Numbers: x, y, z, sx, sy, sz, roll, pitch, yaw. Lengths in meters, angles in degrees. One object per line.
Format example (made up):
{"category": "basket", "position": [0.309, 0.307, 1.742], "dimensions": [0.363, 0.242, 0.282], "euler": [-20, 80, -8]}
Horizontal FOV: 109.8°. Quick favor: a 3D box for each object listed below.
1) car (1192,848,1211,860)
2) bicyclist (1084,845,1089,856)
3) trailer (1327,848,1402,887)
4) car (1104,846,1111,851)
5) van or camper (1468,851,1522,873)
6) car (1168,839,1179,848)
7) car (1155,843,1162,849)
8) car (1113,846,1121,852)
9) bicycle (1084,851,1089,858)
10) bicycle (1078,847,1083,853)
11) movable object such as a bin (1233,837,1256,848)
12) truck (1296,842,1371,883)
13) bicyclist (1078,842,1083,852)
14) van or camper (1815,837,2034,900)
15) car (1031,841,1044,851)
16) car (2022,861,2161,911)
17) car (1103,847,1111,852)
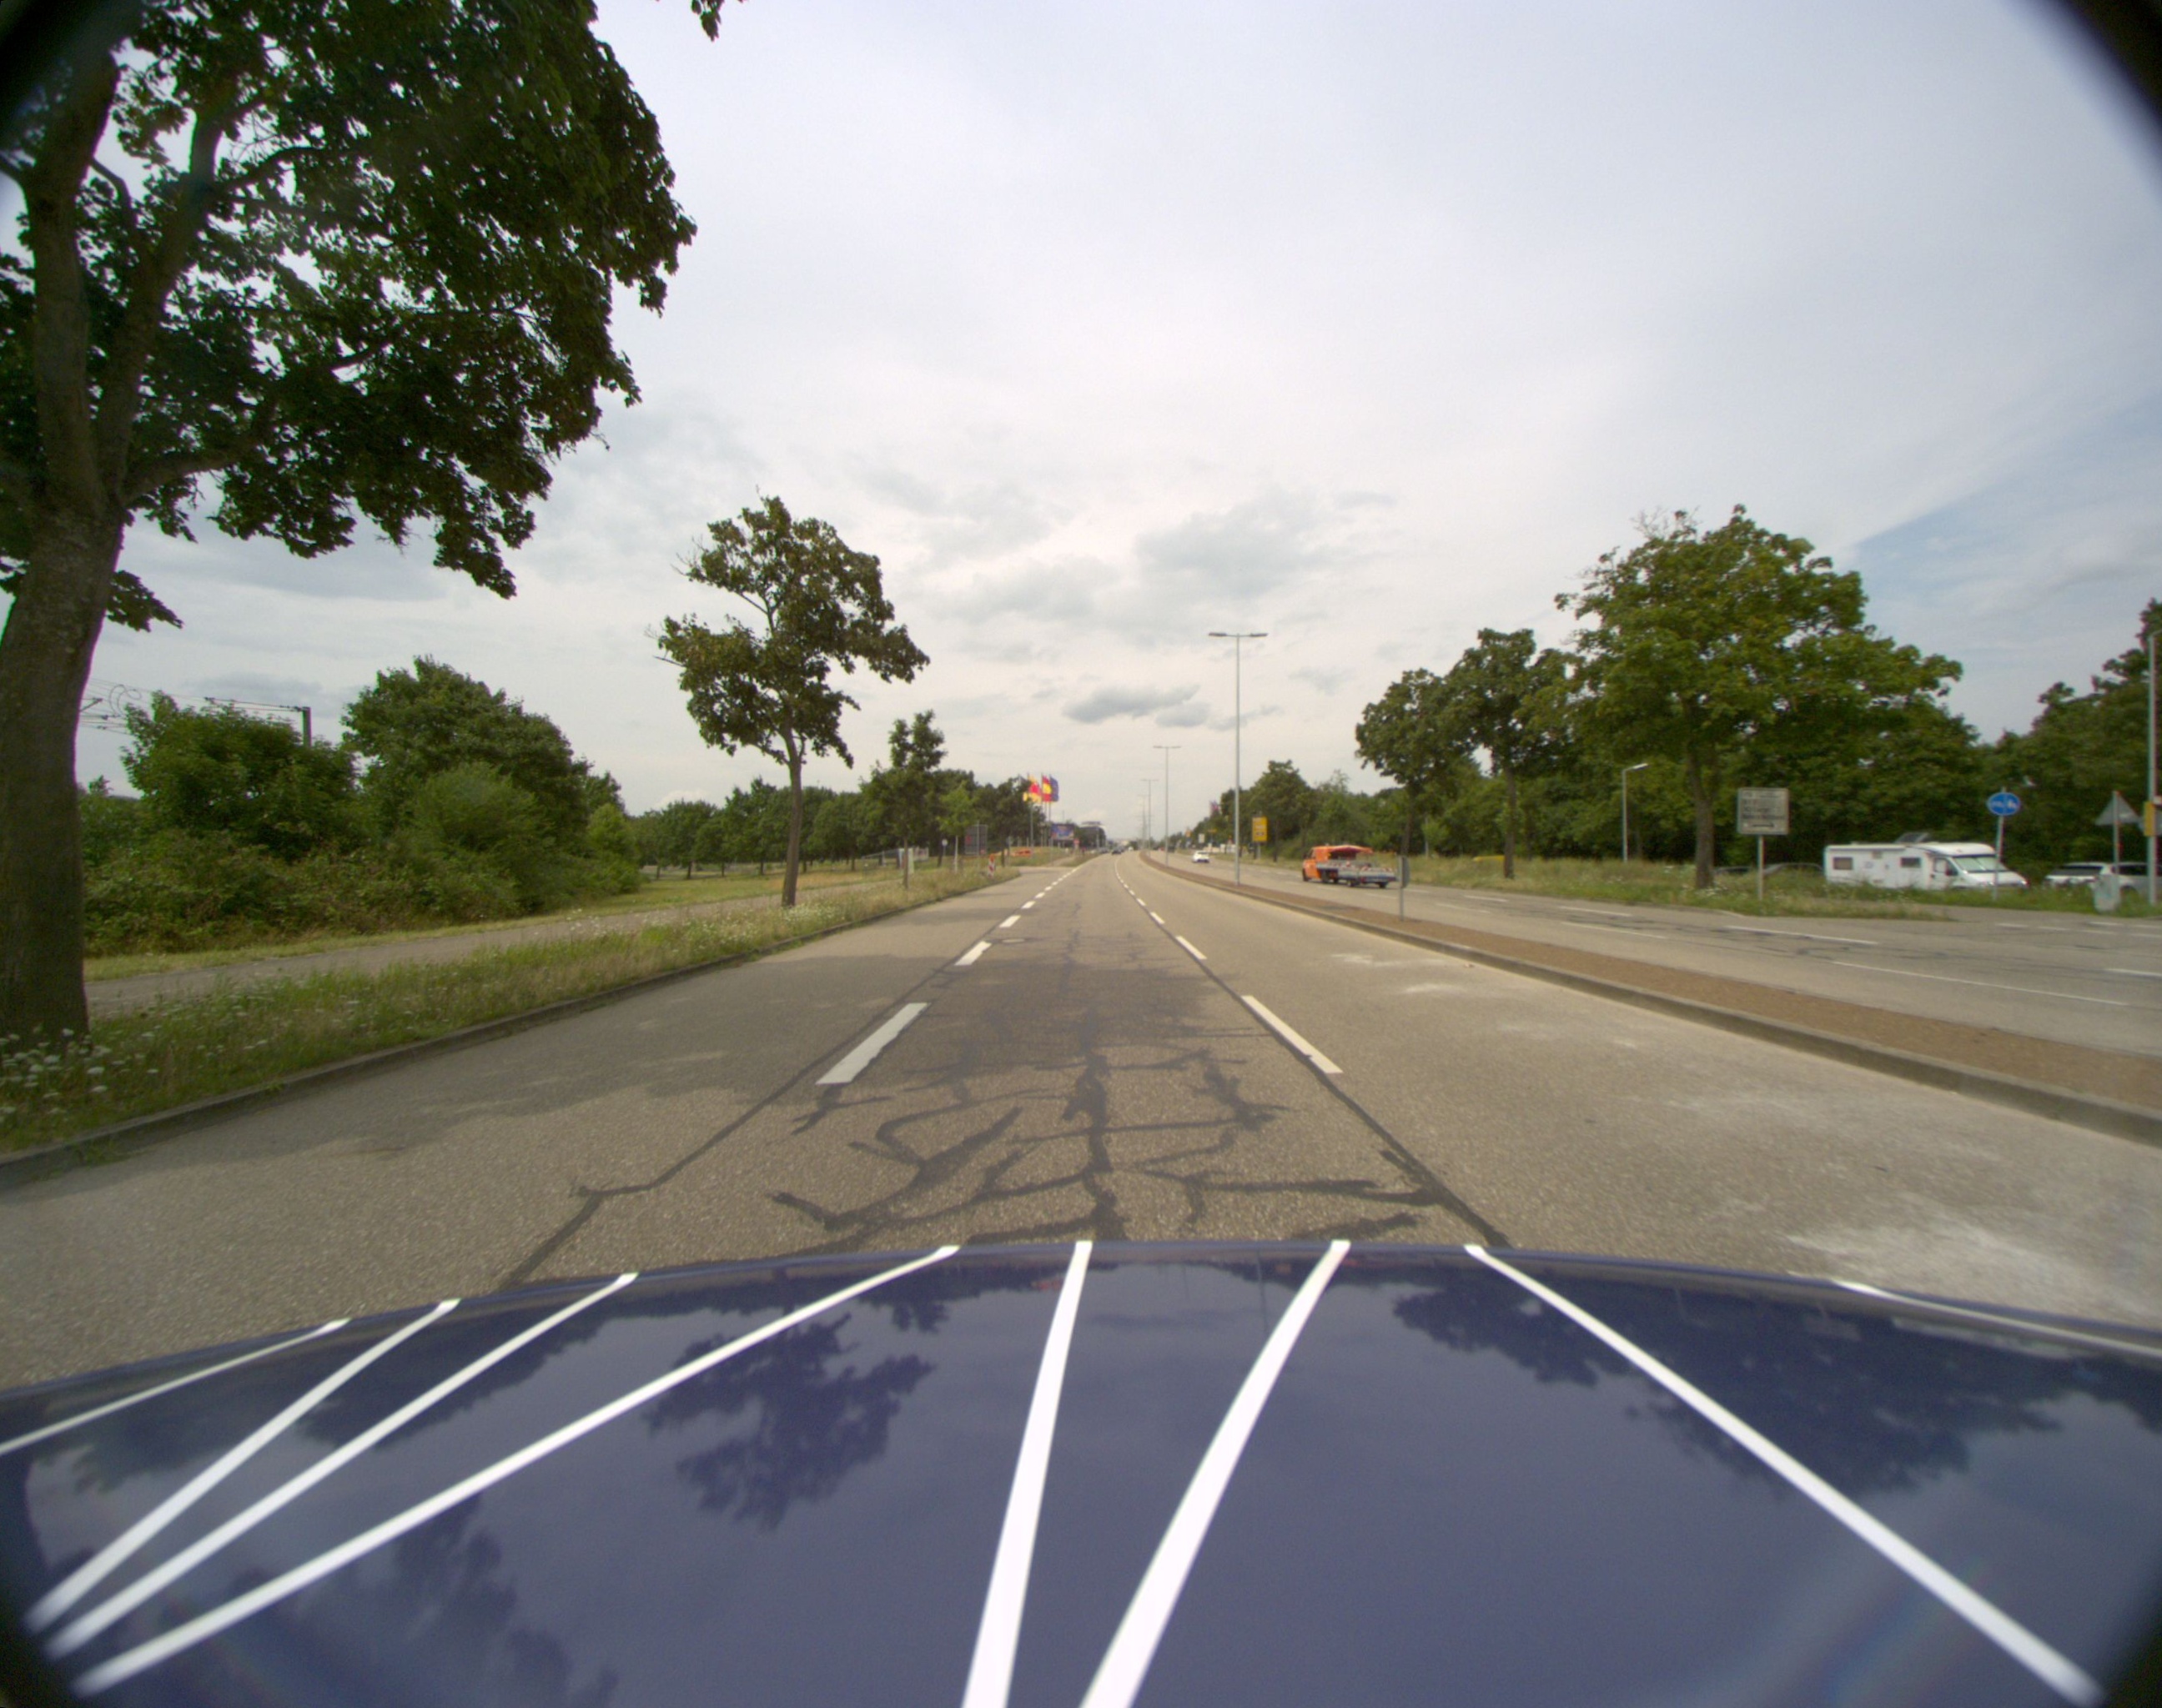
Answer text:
{"category": "car", "position": [14.635, 0.004, 92.190], "dimensions": [1.721, 1.411, 4.160], "euler": [1, 0, 2]}
{"category": "bicyclist", "position": [0.947, -0.618, 129.022], "dimensions": [0.704, 1.745, 0.991], "euler": [0, 1, 3]}
{"category": "trailer", "position": [12.937, 0.563, 34.929], "dimensions": [2.067, 1.680, 3.895], "euler": [1, 1, 2]}
{"category": "car", "position": [6.630, -1.296, 191.980], "dimensions": [1.558, 1.230, 3.470], "euler": [-2, 0, 3]}
{"category": "van or camper", "position": [41.302, 0.829, 75.869], "dimensions": [4.361, 2.002, 2.001], "euler": [-2, 1, 11]}
{"category": "car", "position": [21.645, -2.479, 178.265], "dimensions": [2.100, 2.188, 6.004], "euler": [1, 0, 1]}
{"category": "car", "position": [25.680, -2.752, 251.305], "dimensions": [1.998, 1.801, 4.798], "euler": [0, 0, 2]}
{"category": "car", "position": [7.480, -1.025, 155.767], "dimensions": [1.558, 1.230, 3.470], "euler": [-2, 0, 3]}
{"category": "bicycle", "position": [0.931, 0.090, 128.896], "dimensions": [0.695, 1.185, 2.461], "euler": [0, 0, 3]}
{"category": "bicycle", "position": [-0.087, -0.622, 123.988], "dimensions": [0.624, 0.883, 2.154], "euler": [-1, 1, 3]}
{"category": "movable object such as a bin", "position": [37.311, -2.696, 173.290], "dimensions": [4.592, 2.383, 1.999], "euler": [-1, 0, -6]}
{"category": "truck", "position": [13.085, 0.436, 39.818], "dimensions": [2.093, 1.983, 6.040], "euler": [1, 0, 2]}
{"category": "bicyclist", "position": [-0.096, -1.133, 123.960], "dimensions": [0.623, 1.656, 0.669], "euler": [2, 0, 2]}
{"category": "van or camper", "position": [37.387, 0.619, 34.120], "dimensions": [2.477, 2.526, 6.721], "euler": [-1, 0, 2]}
{"category": "car", "position": [-8.426, -1.512, 147.141], "dimensions": [1.892, 1.824, 4.431], "euler": [-2, 0, 3]}
{"category": "car", "position": [37.709, 1.141, 27.871], "dimensions": [3.997, 1.706, 1.886], "euler": [-1, 0, 0]}
{"category": "car", "position": [6.047, -1.053, 176.036], "dimensions": [1.558, 1.230, 3.470], "euler": [-2, 0, 3]}
